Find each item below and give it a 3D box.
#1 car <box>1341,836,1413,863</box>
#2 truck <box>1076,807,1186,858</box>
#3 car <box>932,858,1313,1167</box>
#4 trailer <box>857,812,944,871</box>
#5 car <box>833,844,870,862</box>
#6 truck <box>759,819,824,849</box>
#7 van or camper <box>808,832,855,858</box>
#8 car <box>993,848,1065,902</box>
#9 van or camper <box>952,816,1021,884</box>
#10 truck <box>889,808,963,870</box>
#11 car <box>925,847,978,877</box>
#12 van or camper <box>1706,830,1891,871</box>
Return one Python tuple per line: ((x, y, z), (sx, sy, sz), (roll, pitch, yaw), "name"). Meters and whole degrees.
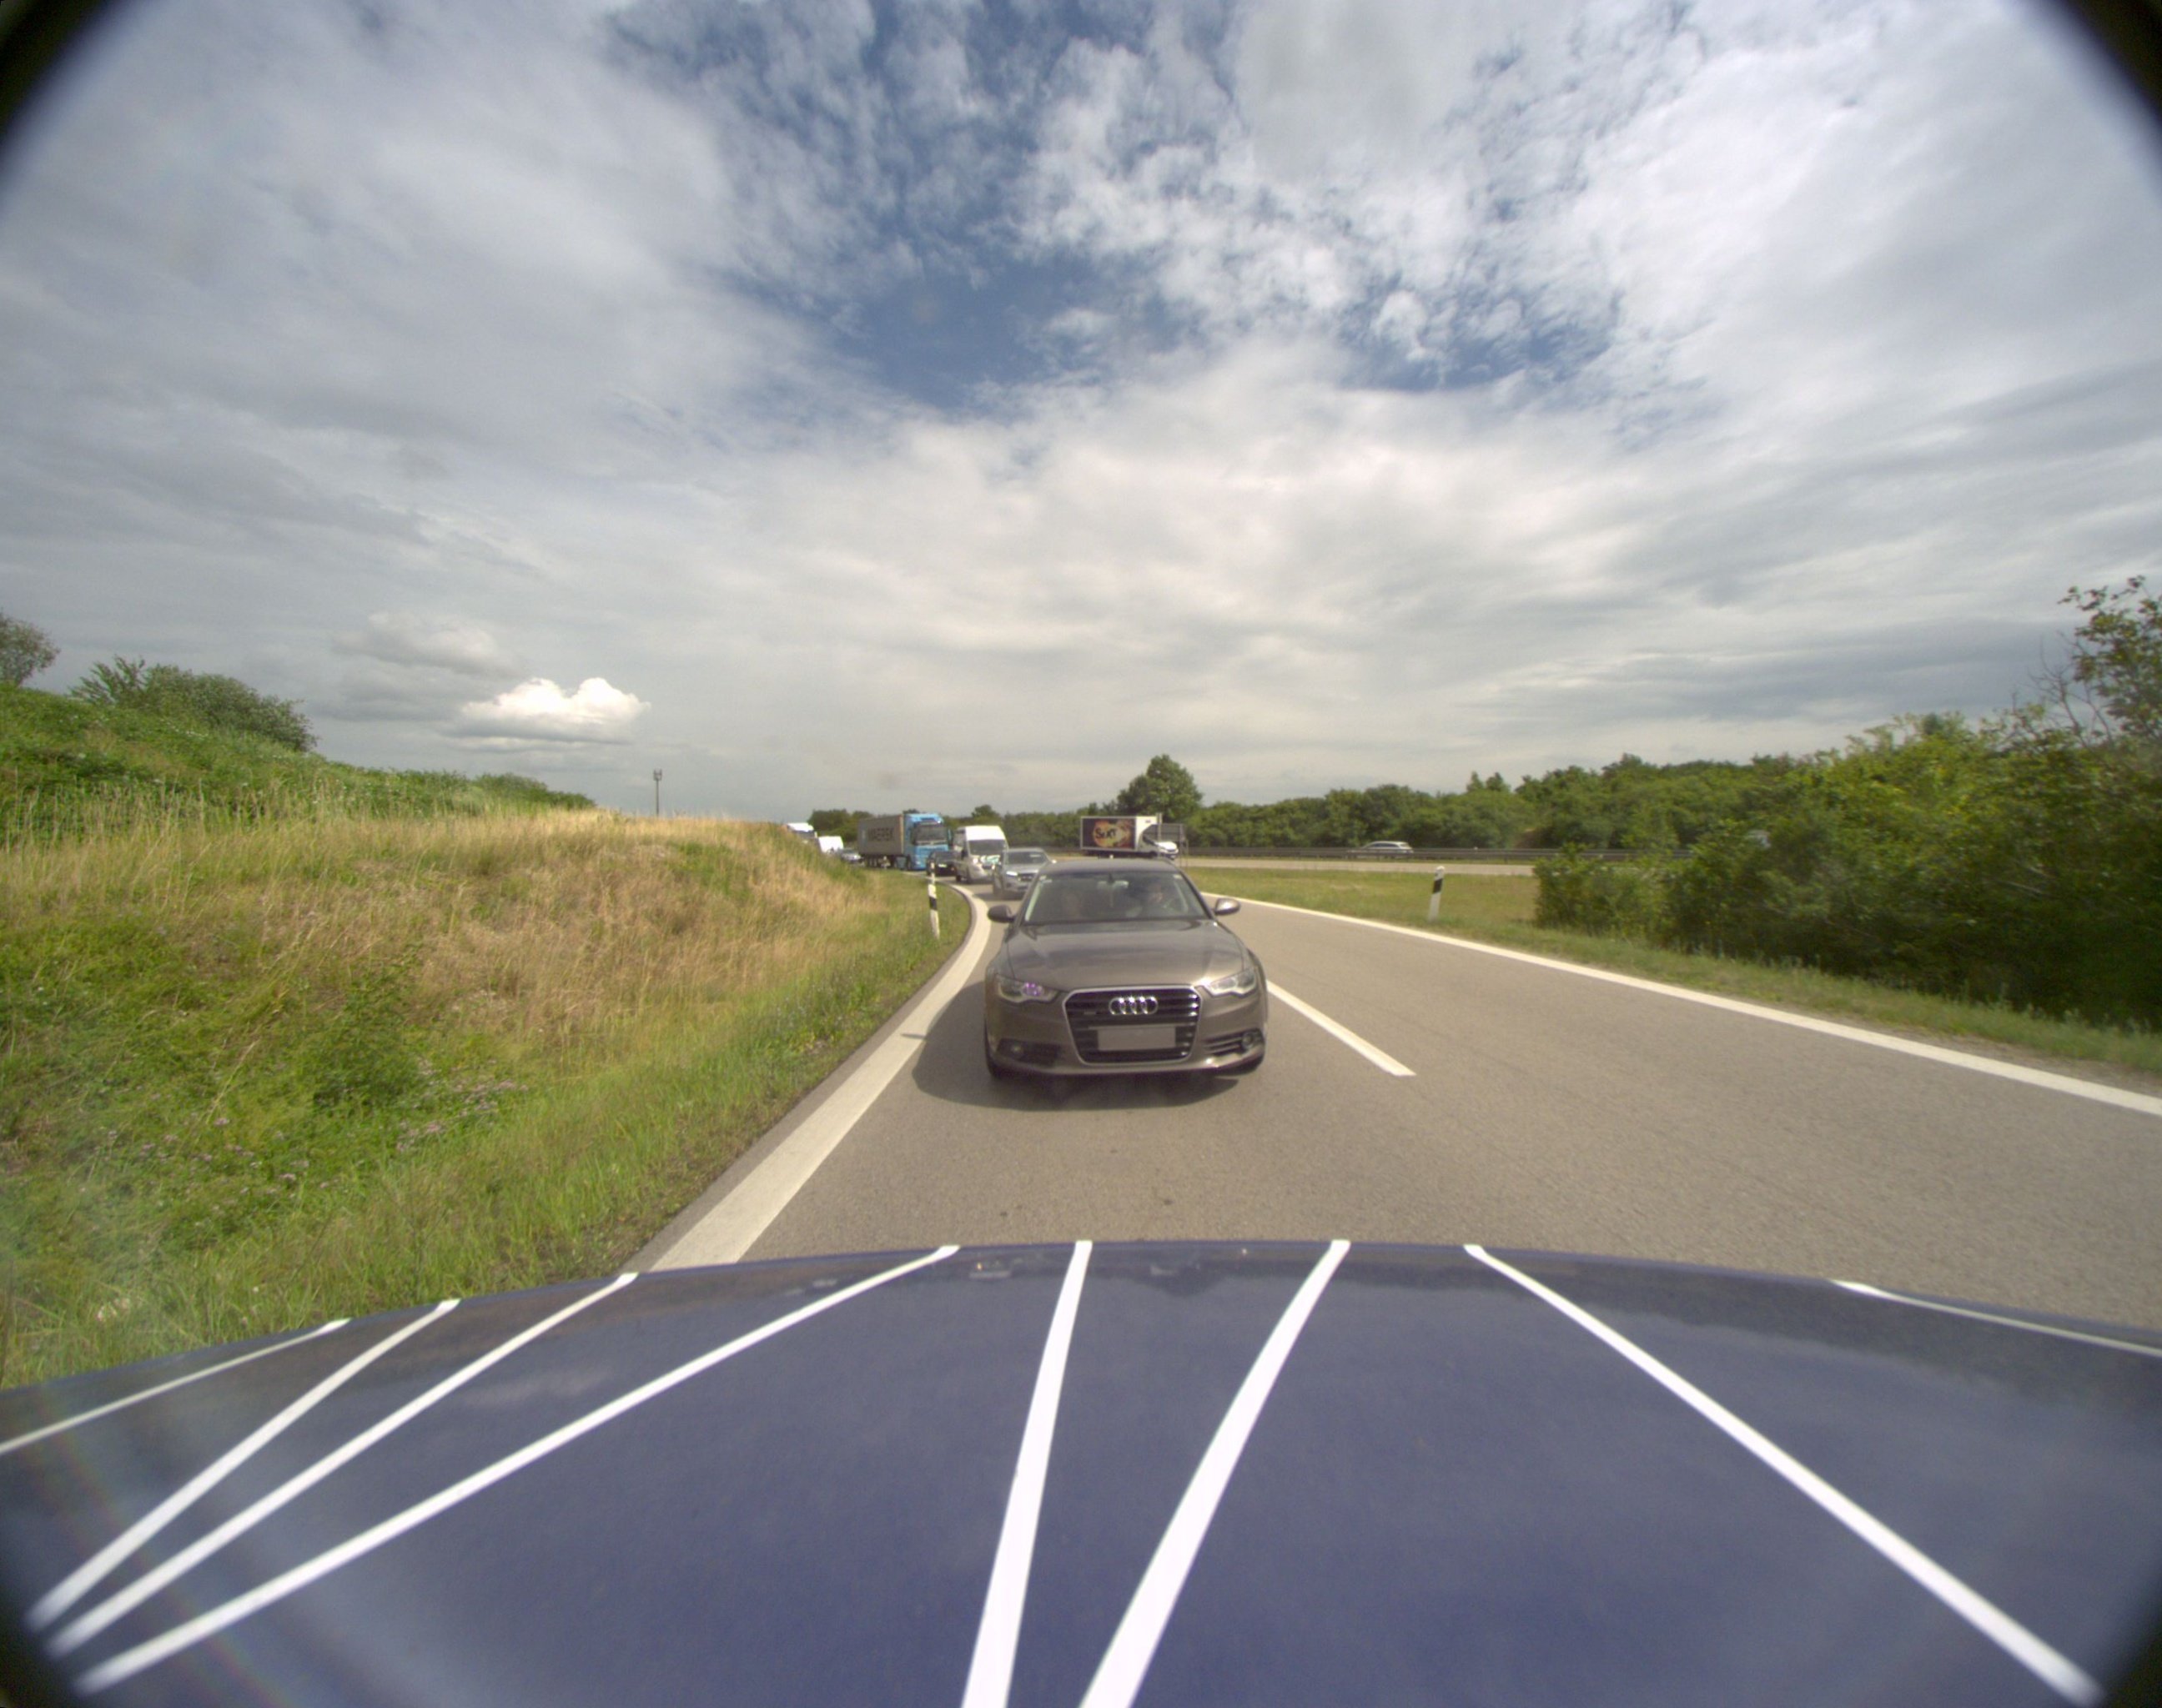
((21.951, -0.345, 56.545), (1.848, 1.863, 4.602), (-4, 2, -44), "car")
((3.672, -1.609, 58.123), (2.898, 3.567, 8.920), (-4, 3, -41), "truck")
((0.240, 0.865, 6.345), (1.998, 1.506, 4.537), (-2, 1, 0), "car")
((-14.481, -0.949, 60.020), (3.280, 4.138, 11.988), (-3, 1, -30), "trailer")
((-21.162, -0.146, 69.908), (2.003, 1.522, 3.988), (-3, 3, -36), "car")
((-33.093, -2.235, 86.520), (3.131, 3.221, 11.128), (-3, 2, -41), "truck")
((-24.616, -0.925, 74.836), (2.558, 2.200, 5.692), (-4, 6, -38), "van or camper")
((-1.827, 0.619, 25.282), (1.844, 1.587, 4.168), (-1, 1, -11), "car")
((-4.622, -0.199, 36.165), (2.400, 2.892, 5.712), (-3, 1, -15), "van or camper")
((-11.155, -1.018, 54.132), (3.184, 4.050, 6.631), (-3, 2, -29), "truck")
((-7.605, 0.434, 44.284), (2.003, 1.609, 3.990), (-2, 2, -26), "car")
((39.671, -0.265, 42.304), (2.234, 2.117, 7.316), (-1, 2, -45), "van or camper")
